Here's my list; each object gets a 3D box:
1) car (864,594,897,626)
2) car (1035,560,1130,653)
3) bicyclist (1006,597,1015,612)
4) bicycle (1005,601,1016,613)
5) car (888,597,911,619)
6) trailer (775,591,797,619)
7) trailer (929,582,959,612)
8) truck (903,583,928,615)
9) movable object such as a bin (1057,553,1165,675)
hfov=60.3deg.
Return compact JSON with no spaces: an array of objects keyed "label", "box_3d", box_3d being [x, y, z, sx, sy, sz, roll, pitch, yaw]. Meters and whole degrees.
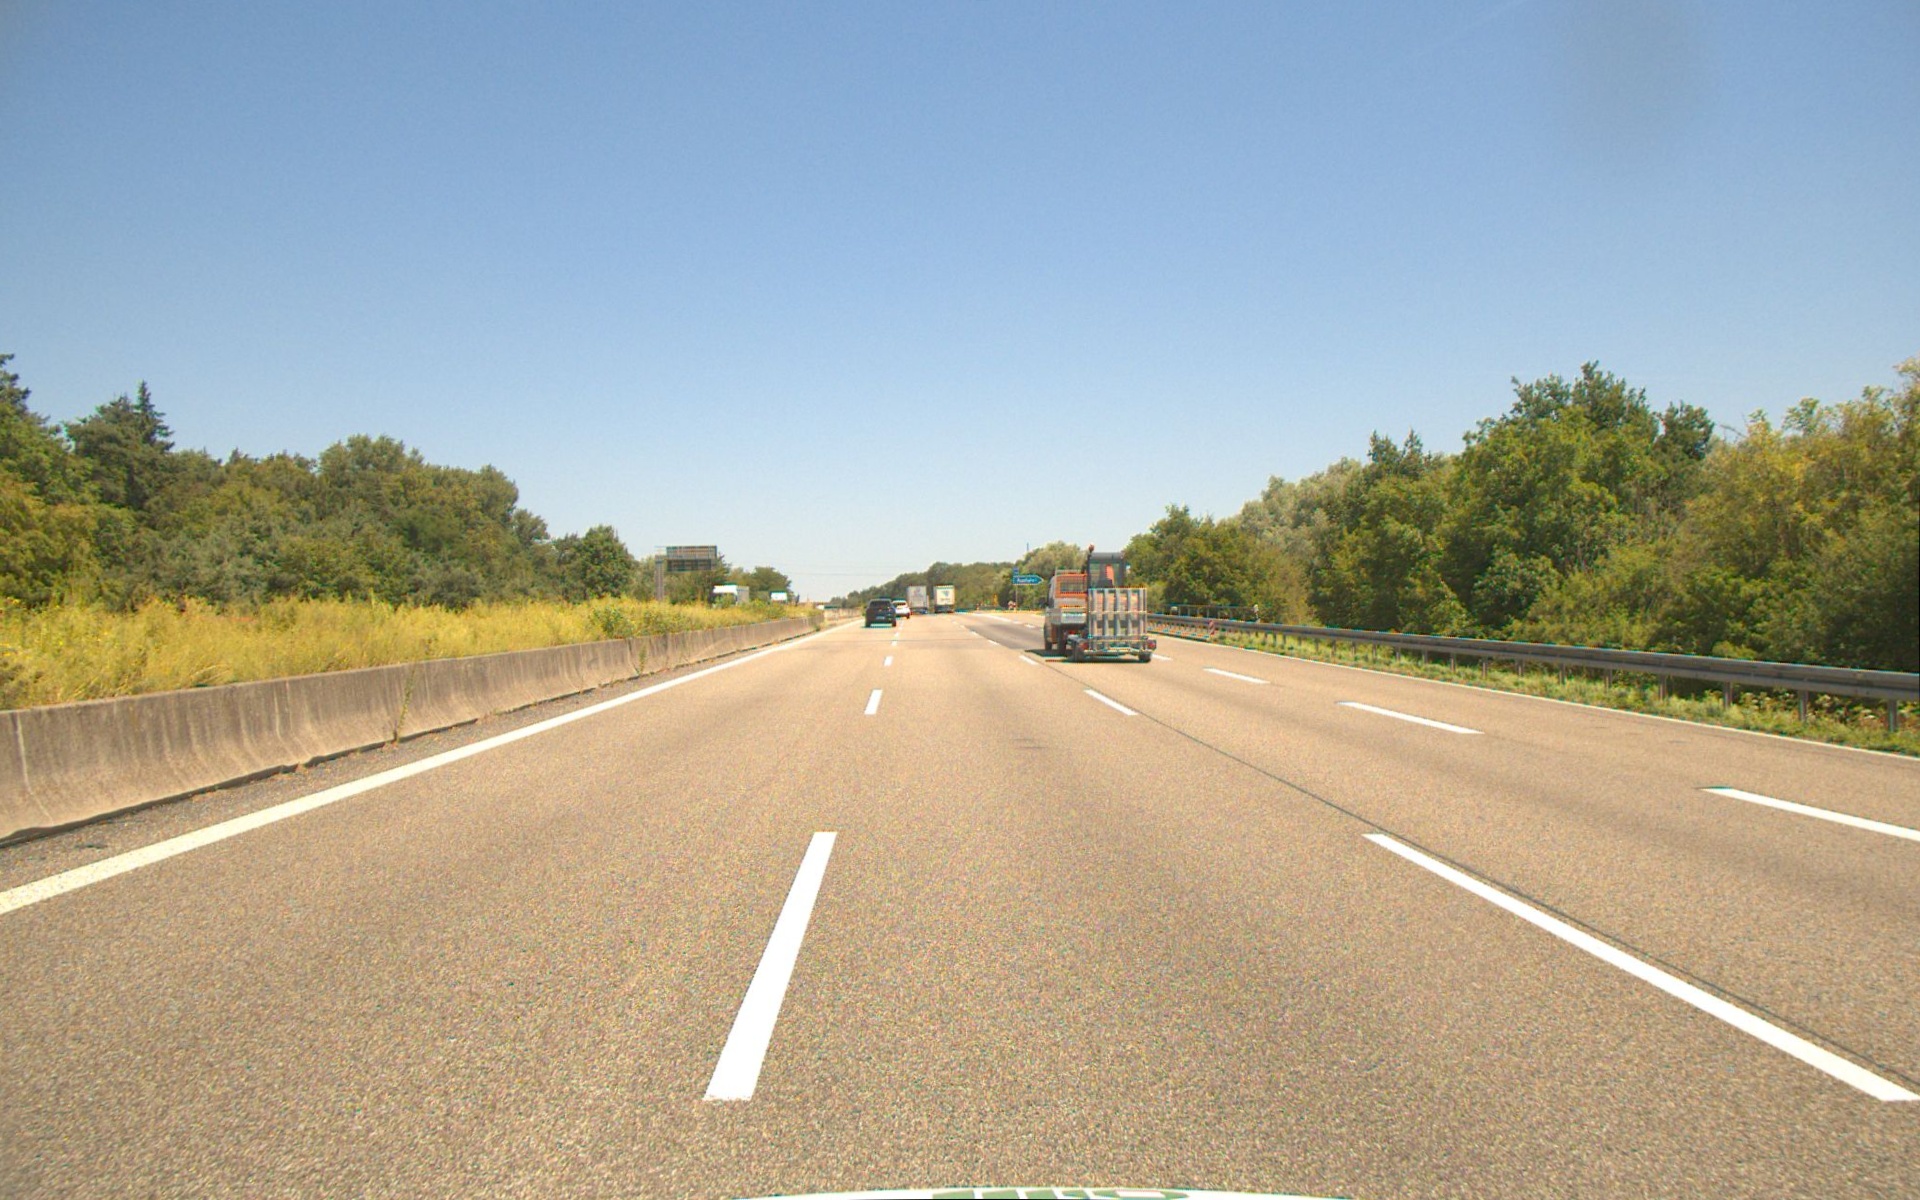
[{"label":"car","box_3d":[-5.009,0.648,104.692,1.953,1.907,3.998,-2,0,-2]},{"label":"car","box_3d":[3.497,0.194,48.575,1.953,2.447,7.223,-2,0,-2]},{"label":"bicyclist","box_3d":[5.381,0.490,176.474,0.940,1.623,0.808,1,-1,6]},{"label":"bicycle","box_3d":[5.397,0.738,176.578,0.940,1.178,2.609,1,0,6]},{"label":"car","box_3d":[-5.525,0.740,151.269,1.953,1.907,3.998,-1,0,-2]},{"label":"trailer","box_3d":[-26.576,0.724,252.755,2.751,4.118,10.425,1,0,-3]},{"label":"trailer","box_3d":[-2.414,-0.464,240.082,3.303,4.215,9.077,1,0,-7]},{"label":"truck","box_3d":[-6.074,-0.130,225.767,3.165,4.276,8.461,0,0,-3]},{"label":"movable object such as a bin","box_3d":[3.801,0.345,42.488,2.130,2.864,4.759,-2,0,-2]}]
